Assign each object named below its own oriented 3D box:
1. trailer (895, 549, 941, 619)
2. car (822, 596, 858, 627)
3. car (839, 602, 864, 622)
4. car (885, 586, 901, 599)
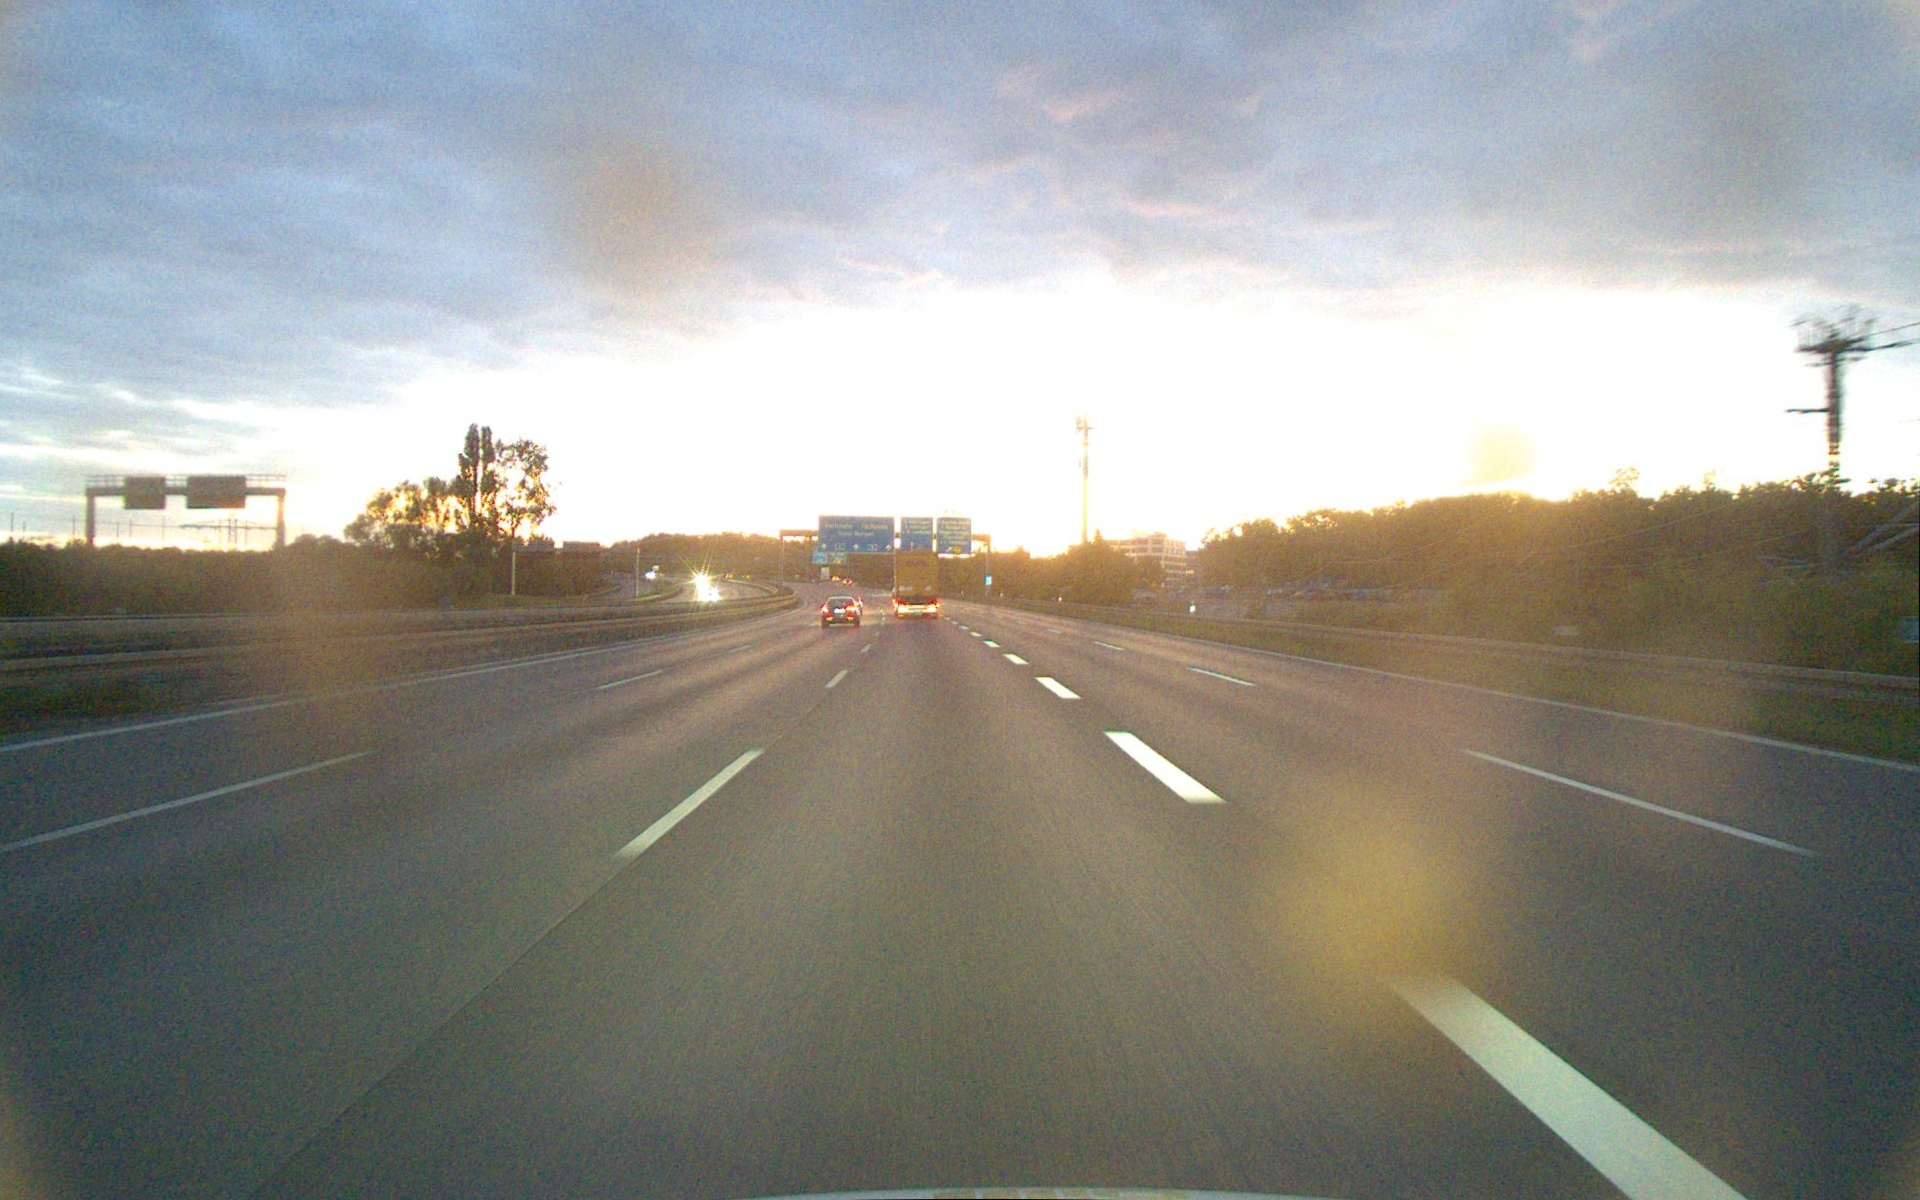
[{"bbox_3d":[-2.651,-1.044,102.555,2.667,4.142,8.827,-1,1,-2],"label":"trailer"},{"bbox_3d":[-5.841,0.562,80.574,1.656,1.426,3.405,-1,0,-4],"label":"car"},{"bbox_3d":[-7.891,0.883,120.458,1.655,1.426,3.407,-2,-1,-2],"label":"car"},{"bbox_3d":[-9.911,-1.095,244.485,1.956,1.747,3.993,0,-1,-7],"label":"car"}]
